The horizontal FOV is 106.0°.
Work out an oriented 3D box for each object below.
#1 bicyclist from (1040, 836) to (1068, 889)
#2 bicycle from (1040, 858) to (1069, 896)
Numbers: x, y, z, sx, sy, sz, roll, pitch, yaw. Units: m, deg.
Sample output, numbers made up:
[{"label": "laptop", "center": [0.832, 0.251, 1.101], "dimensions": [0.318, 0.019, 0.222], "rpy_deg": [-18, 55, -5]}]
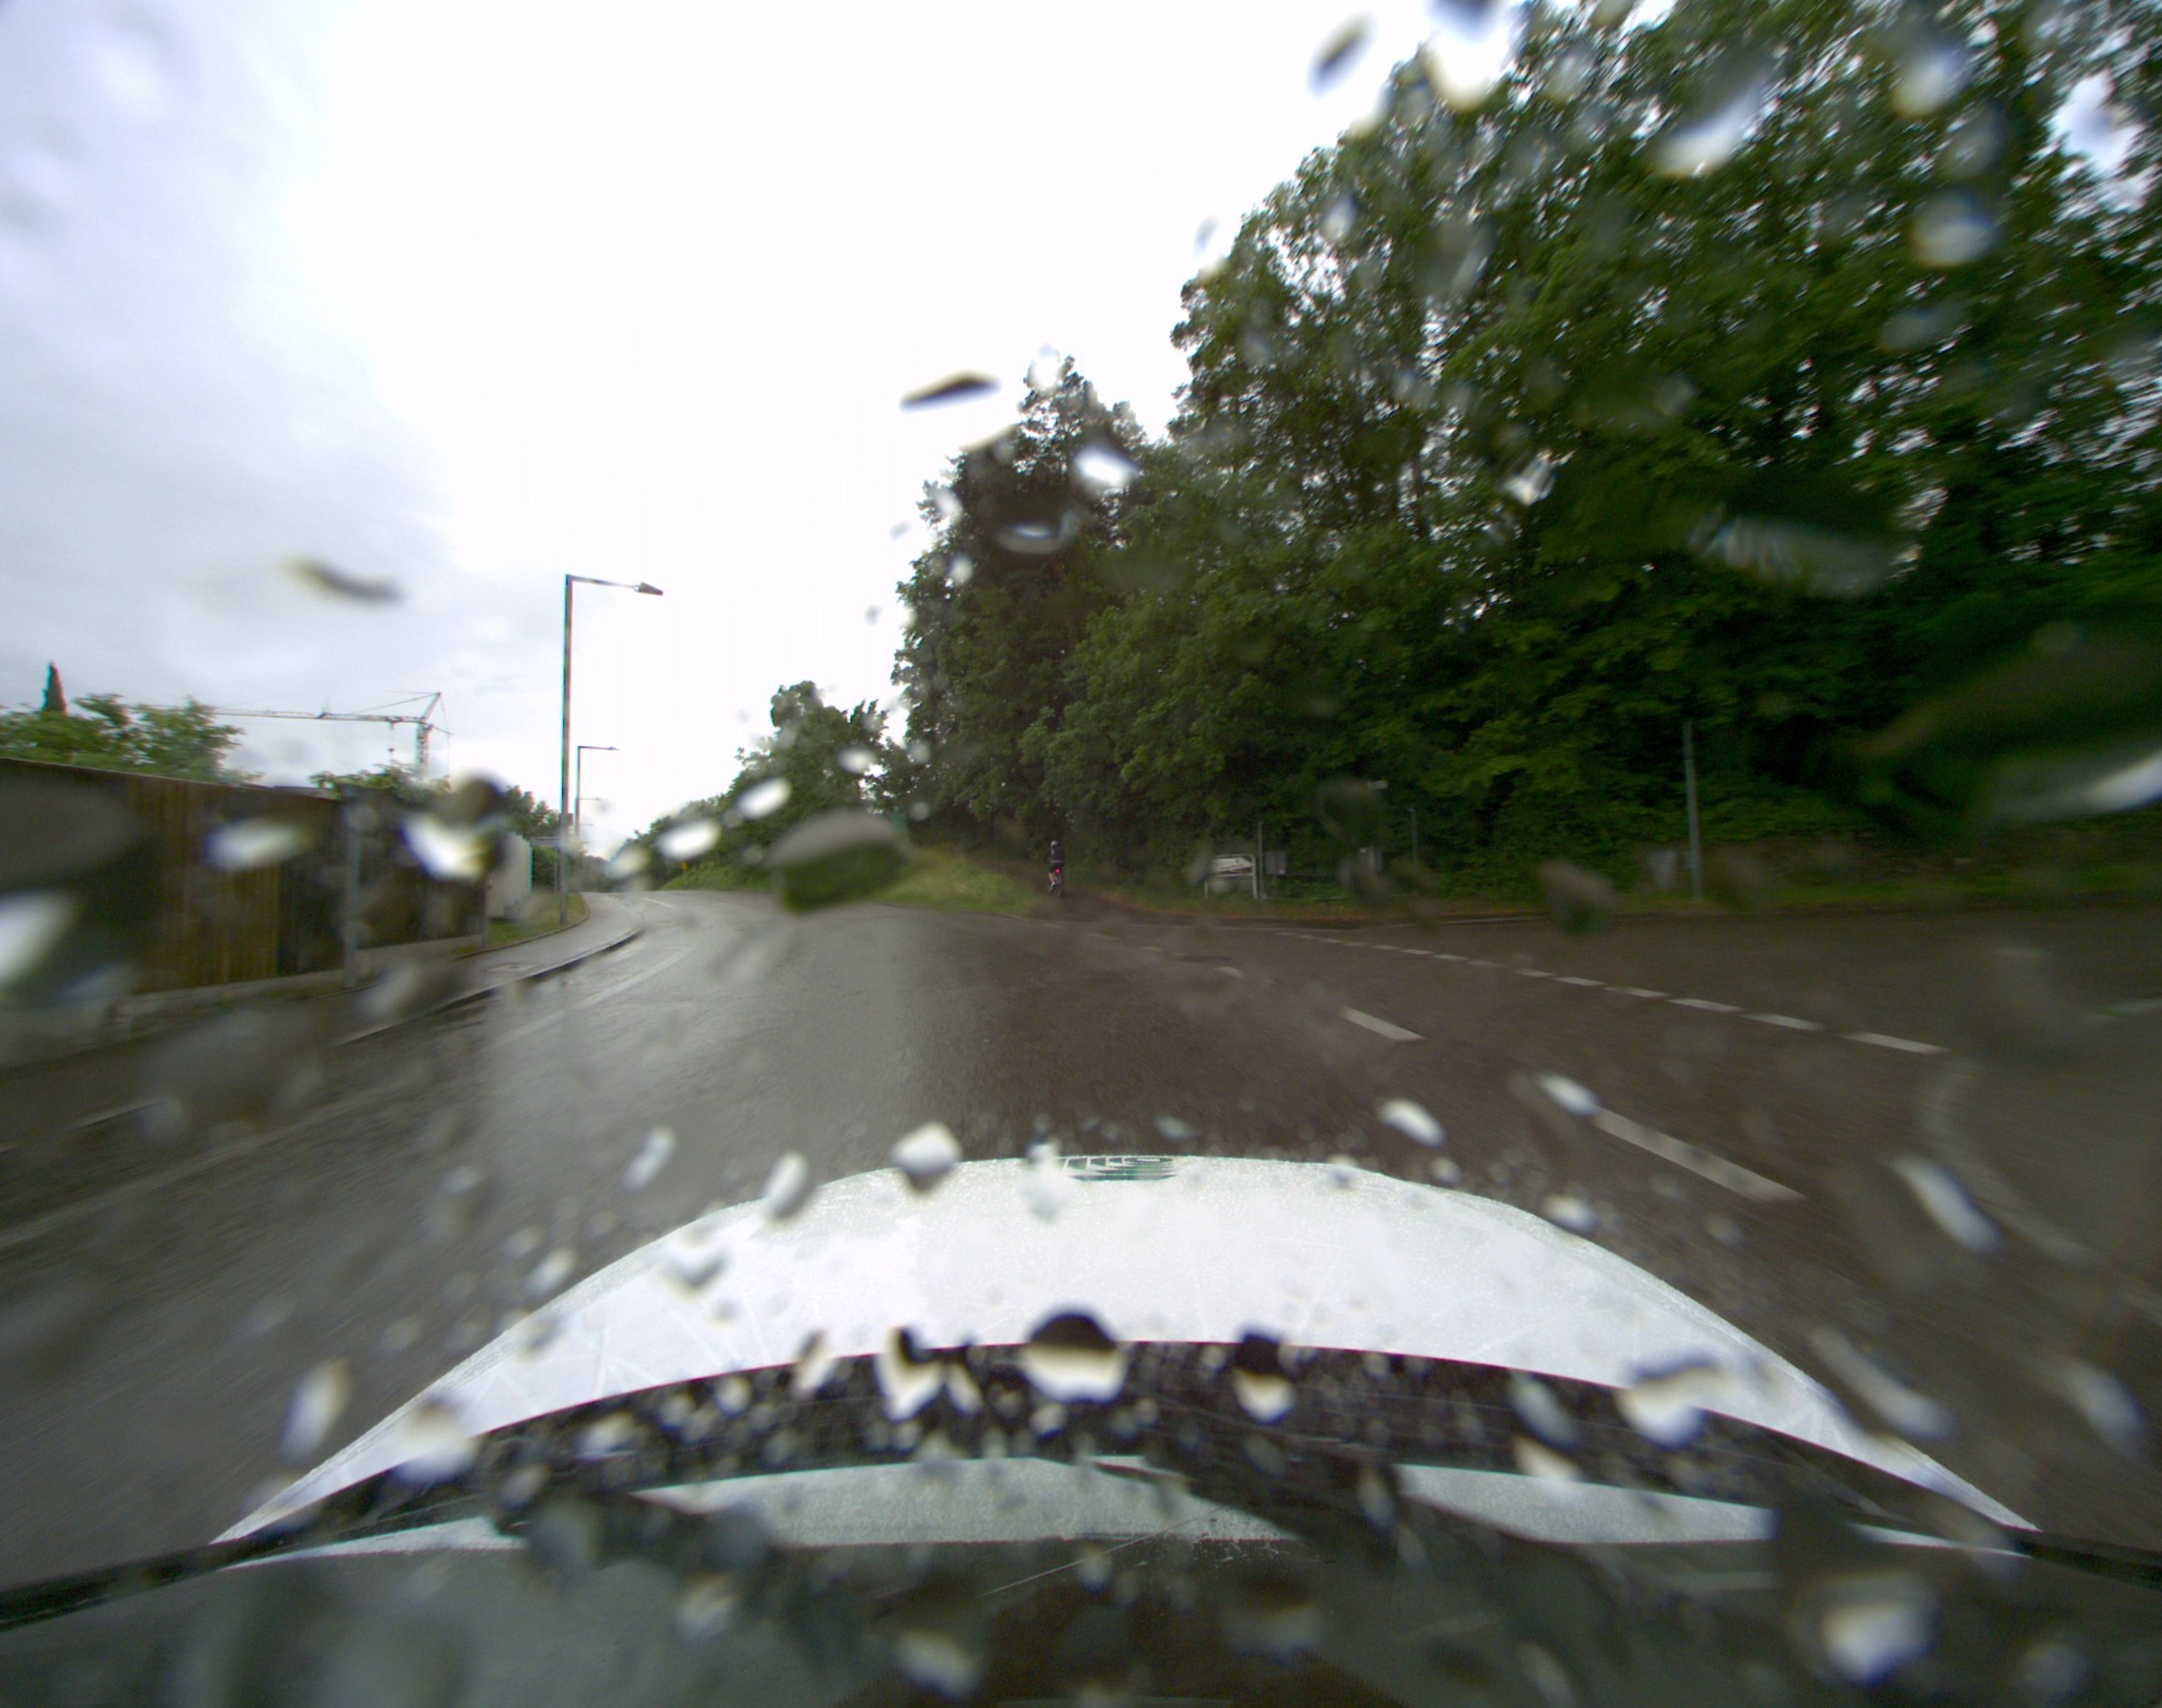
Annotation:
[{"label": "bicyclist", "center": [-0.860, 0.251, 26.030], "dimensions": [0.721, 1.614, 0.901], "rpy_deg": [-1, 4, -15]}, {"label": "bicycle", "center": [-0.863, 0.718, 26.058], "dimensions": [0.528, 1.084, 1.612], "rpy_deg": [-1, 4, -17]}]
